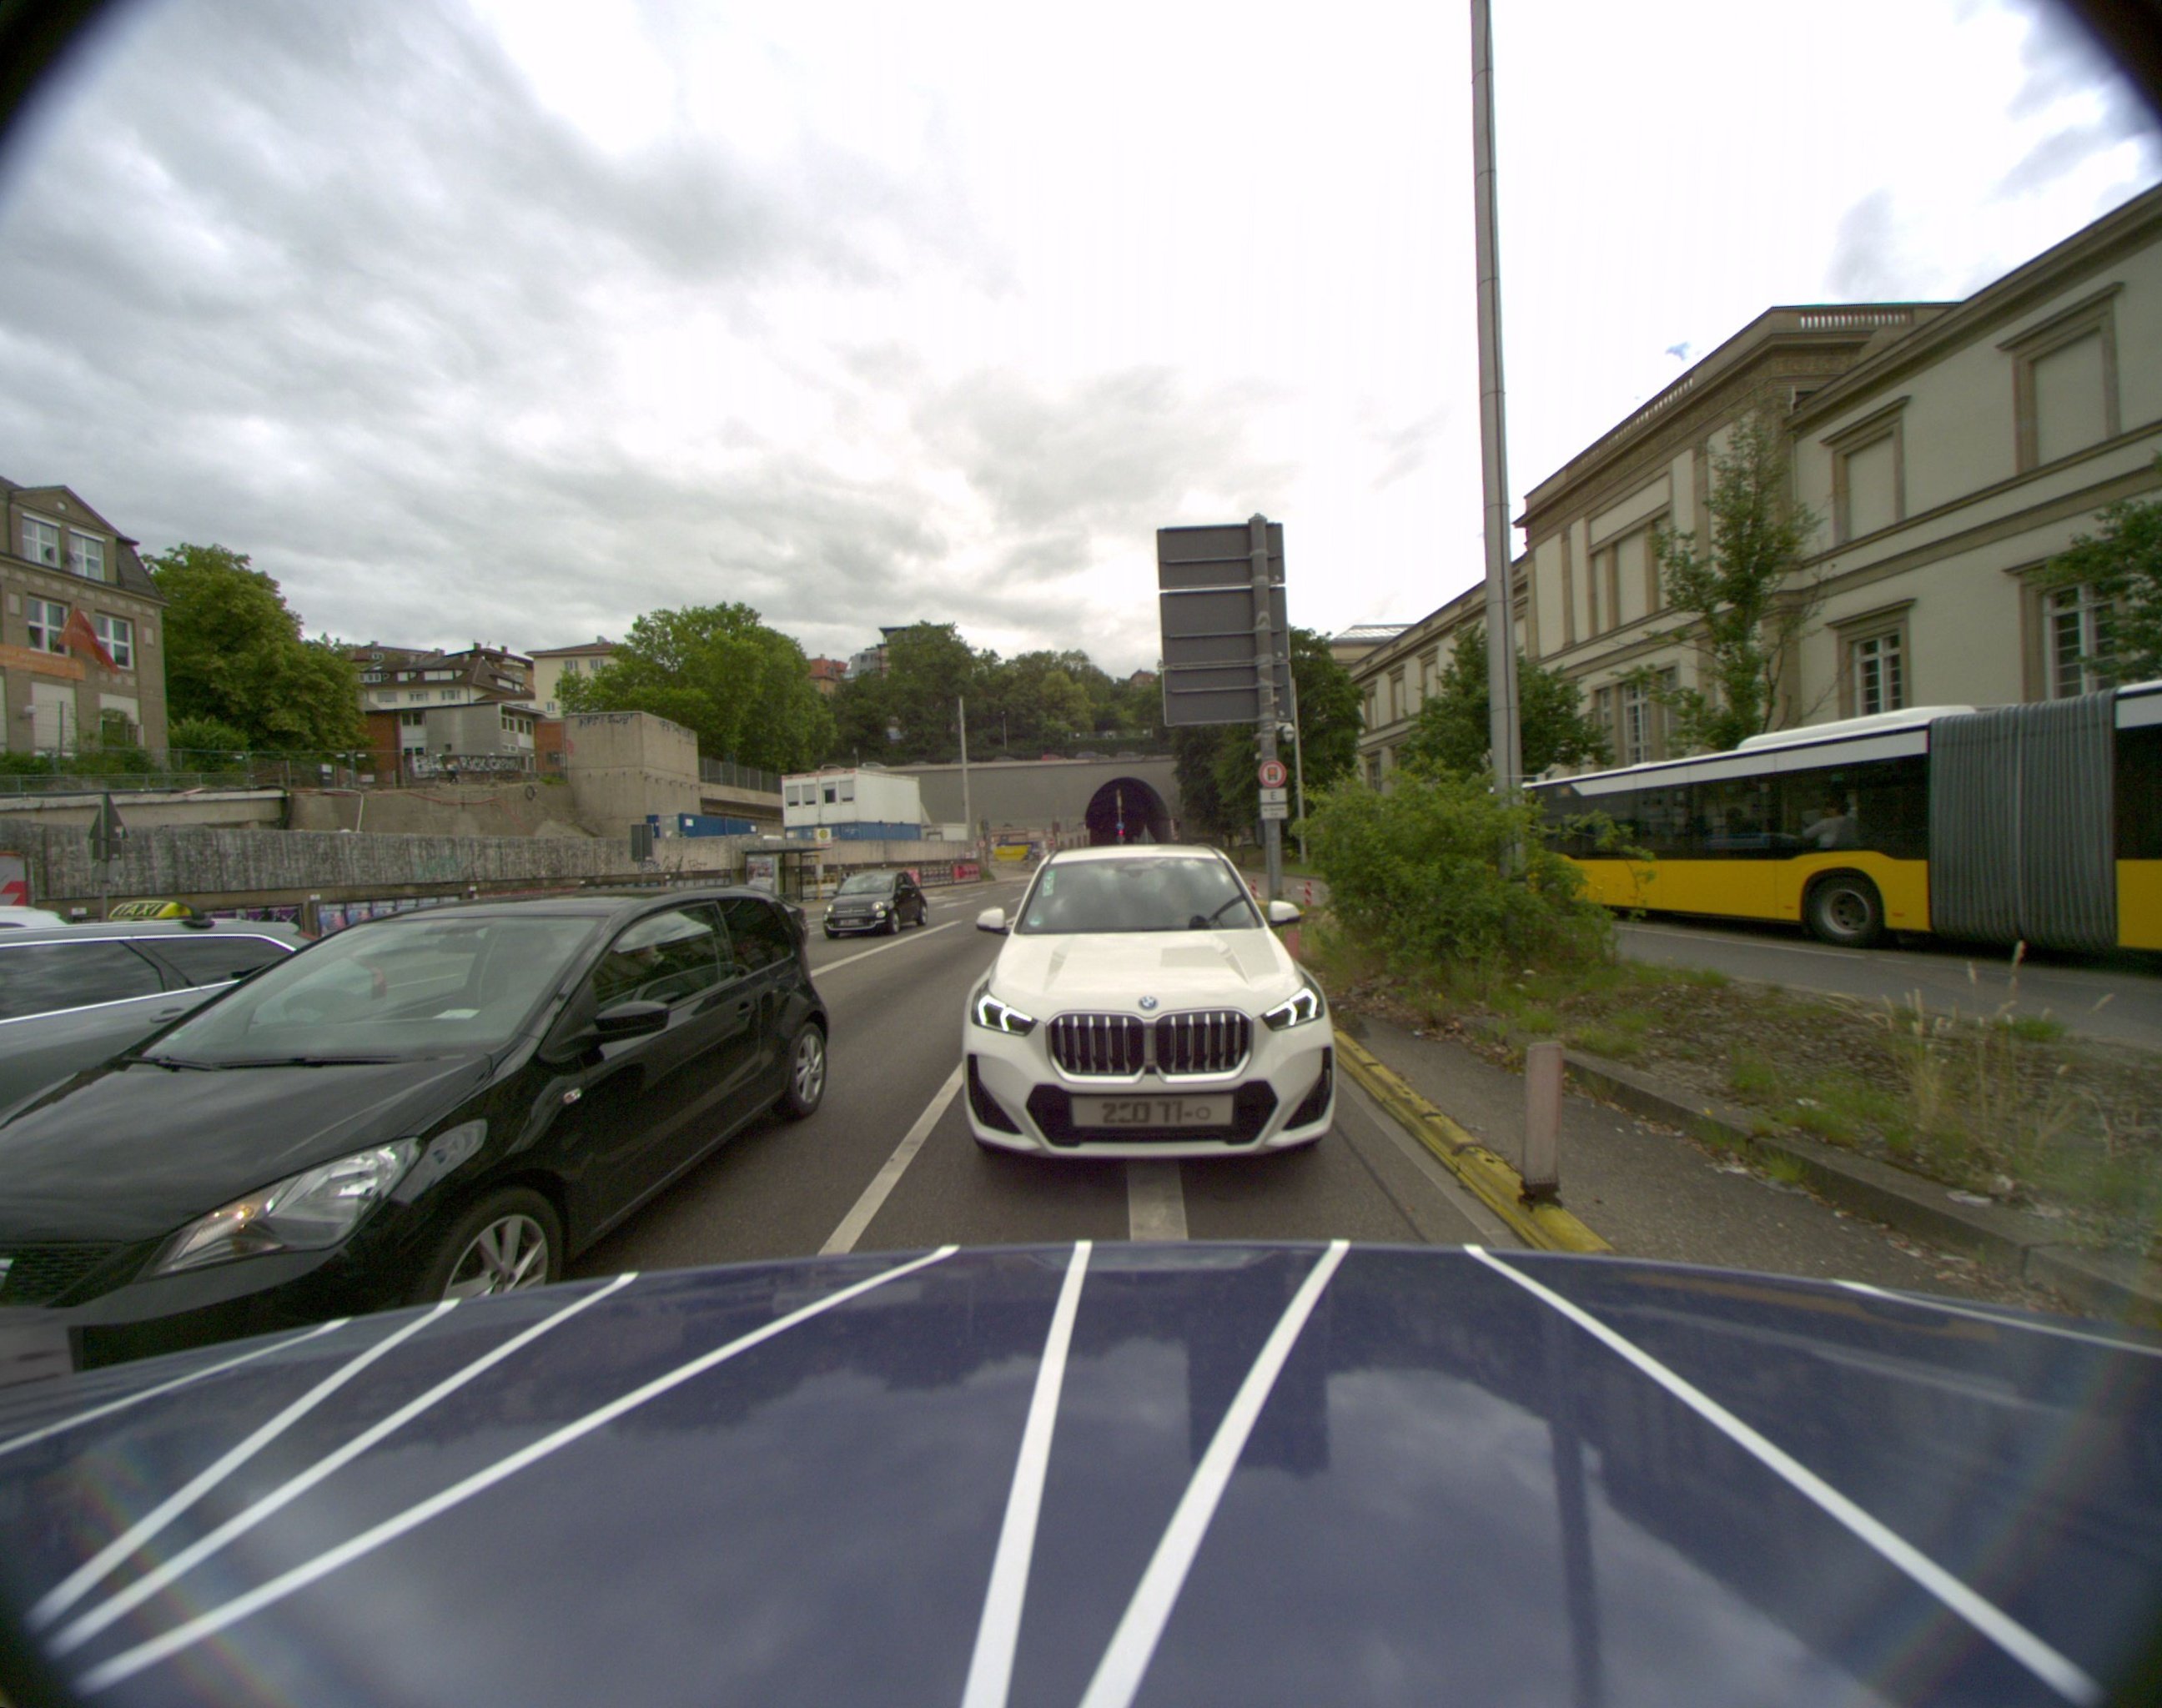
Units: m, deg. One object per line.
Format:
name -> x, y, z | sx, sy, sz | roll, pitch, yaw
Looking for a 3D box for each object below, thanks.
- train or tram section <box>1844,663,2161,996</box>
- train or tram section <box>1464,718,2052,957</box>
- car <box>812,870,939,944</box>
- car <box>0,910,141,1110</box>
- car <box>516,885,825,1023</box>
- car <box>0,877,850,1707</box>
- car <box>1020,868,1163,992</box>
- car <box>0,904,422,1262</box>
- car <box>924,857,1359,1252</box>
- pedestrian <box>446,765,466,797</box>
train or tram section -> 11.242, -0.244, 5.180 | 2.700, 3.053, 9.336 | -1, 0, 0
train or tram section -> 11.149, -0.214, 14.522 | 2.701, 3.053, 9.375 | -1, 0, -1
car -> -4.807, 1.186, 18.331 | 1.720, 1.450, 3.782 | -3, 0, 4
car -> -9.154, 1.268, 4.582 | 1.826, 1.457, 4.073 | -2, 1, 0
car -> -5.403, 1.237, 10.764 | 1.826, 1.356, 4.219 | -2, 0, 4
car -> -2.533, 0.988, 3.278 | 1.661, 1.547, 3.911 | -2, 1, 3
car -> 0.217, 1.002, 11.602 | 1.756, 1.427, 3.911 | -2, 0, 3
car -> -5.828, 1.152, 3.458 | 1.826, 1.457, 4.217 | -2, 1, 2
car -> 0.335, 0.857, 5.126 | 1.756, 1.547, 3.911 | -2, 1, 3
pedestrian -> -36.838, -4.295, 44.786 | 0.554, 1.784, 0.570 | -2, 1, 11
